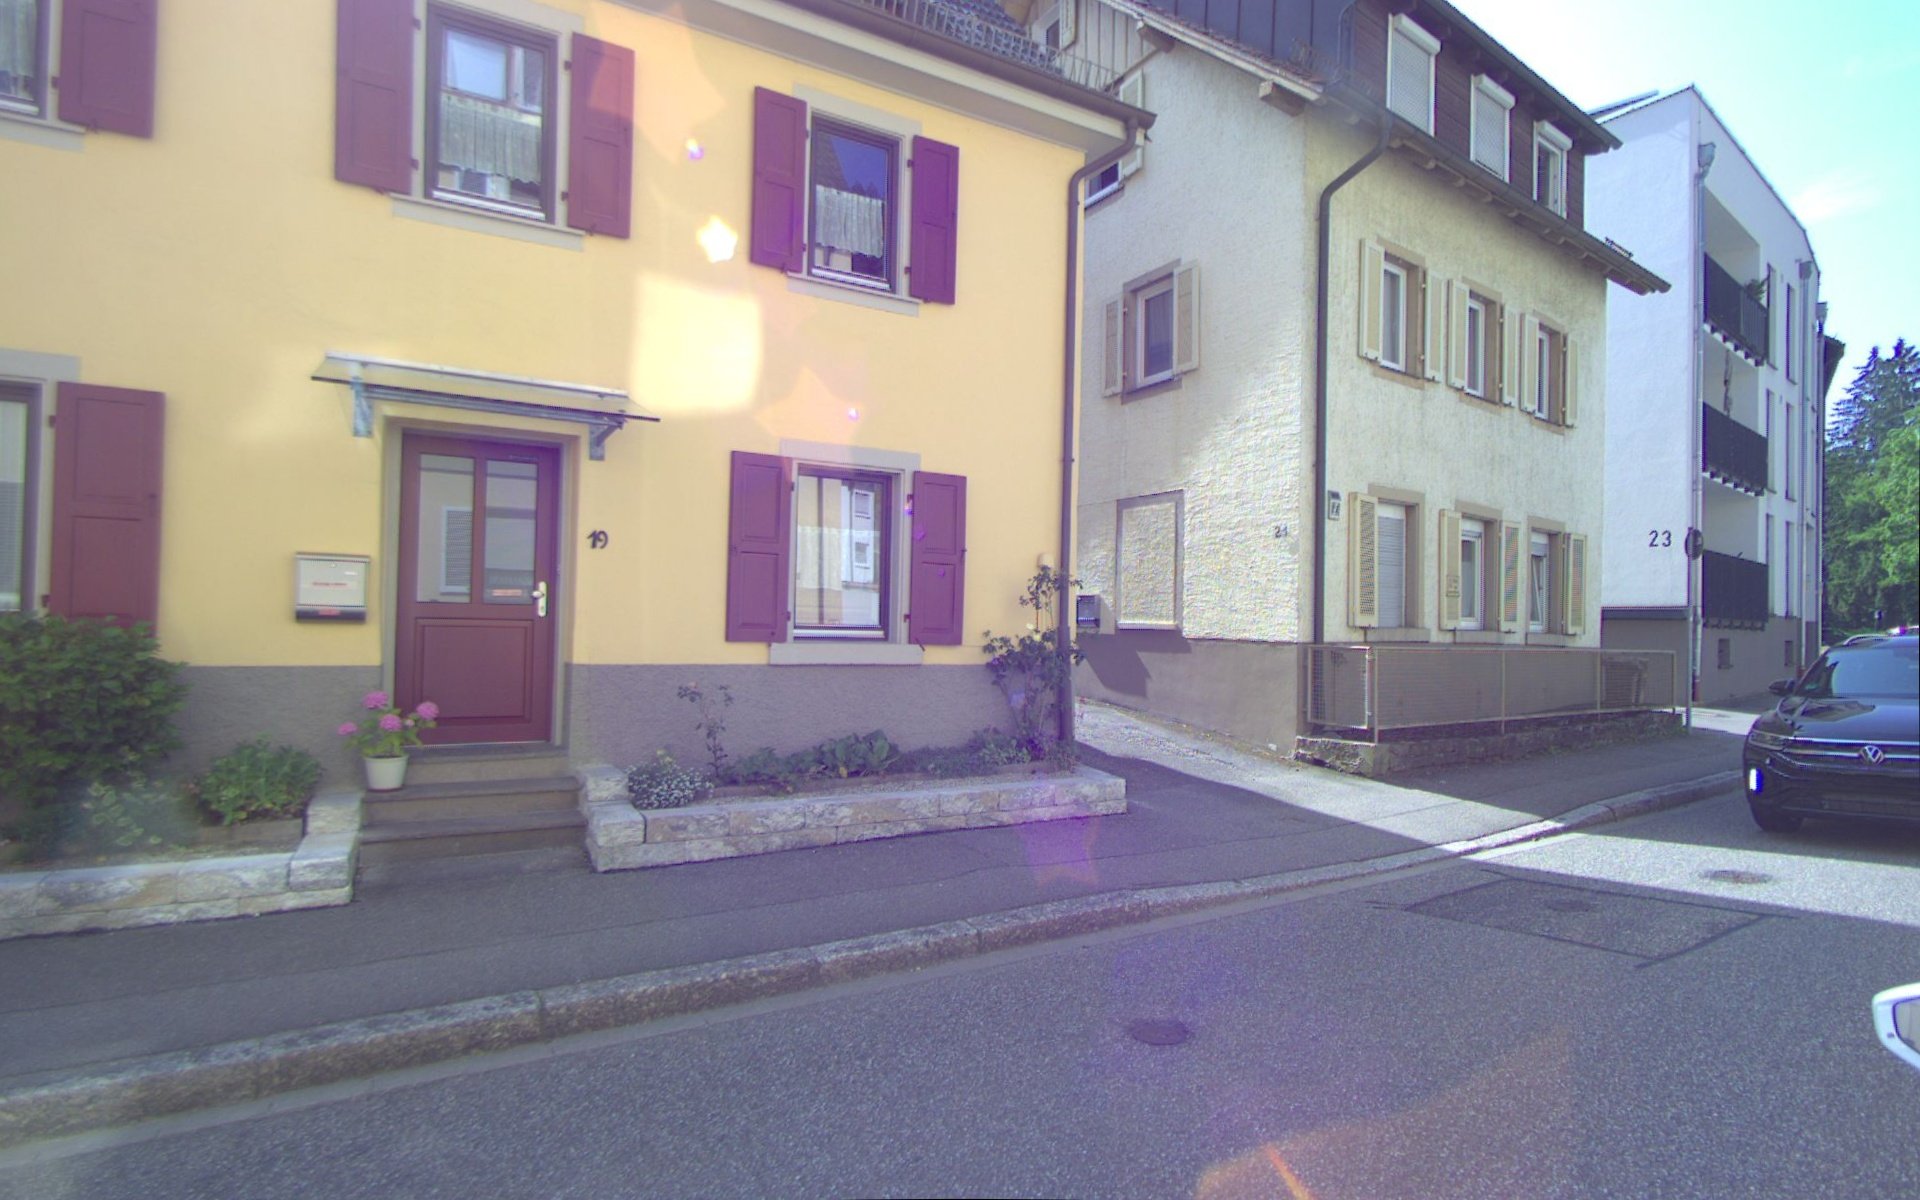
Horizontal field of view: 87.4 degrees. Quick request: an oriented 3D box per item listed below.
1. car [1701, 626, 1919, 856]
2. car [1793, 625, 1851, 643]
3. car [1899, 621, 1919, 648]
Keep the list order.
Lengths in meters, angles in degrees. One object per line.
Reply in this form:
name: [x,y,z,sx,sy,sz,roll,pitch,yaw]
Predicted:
car: [7.999,1.005,8.203,3.957,1.557,1.814,1,-4,-33]
car: [75.413,2.975,87.939,1.923,1.549,3.419,1,-1,-11]
car: [57.751,2.095,60.445,1.725,1.572,3.733,0,-1,42]
